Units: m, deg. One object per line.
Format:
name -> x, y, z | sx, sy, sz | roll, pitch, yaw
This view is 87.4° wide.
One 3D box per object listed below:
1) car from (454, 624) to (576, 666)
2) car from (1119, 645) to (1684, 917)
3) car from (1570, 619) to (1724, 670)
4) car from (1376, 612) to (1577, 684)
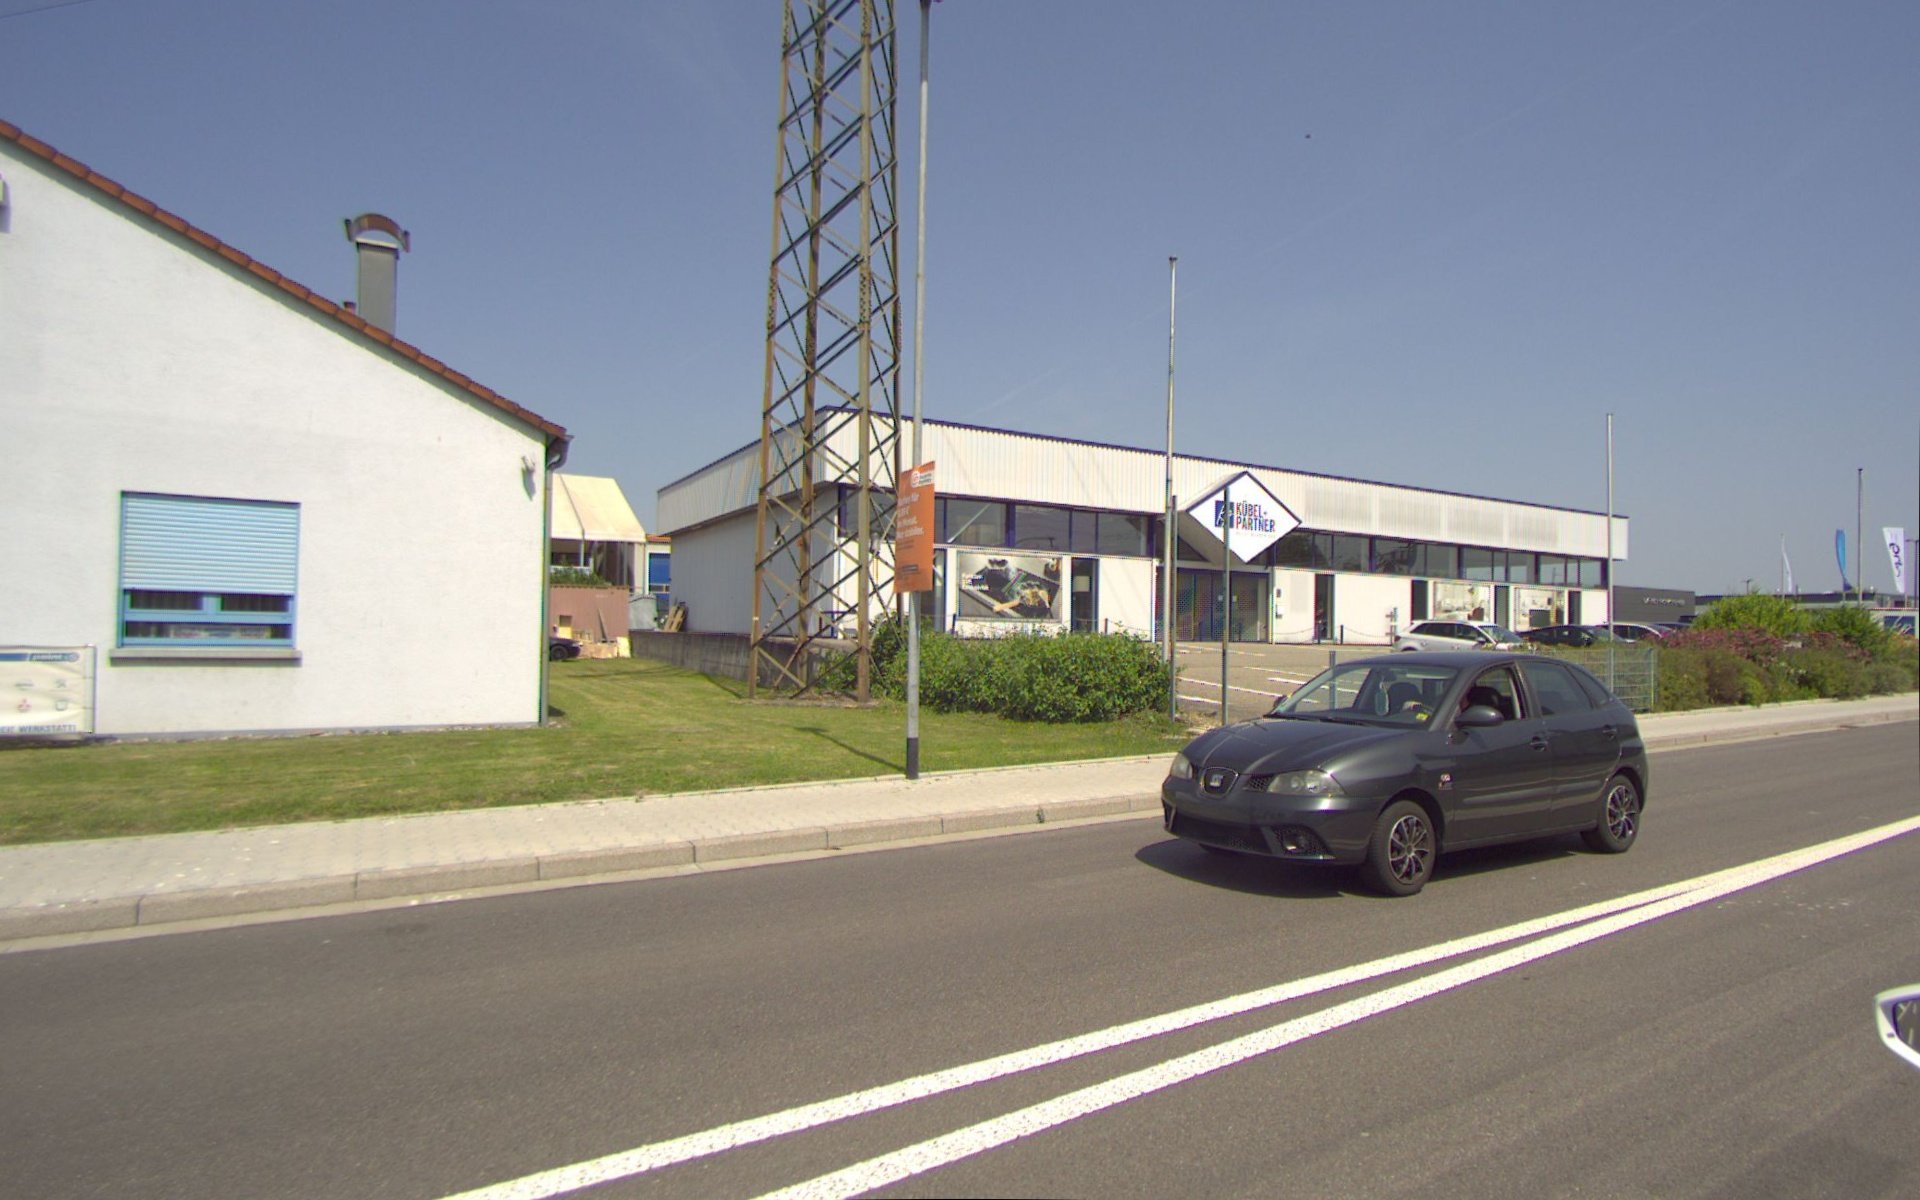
car -> -16.238, 1.644, 36.691 | 3.953, 1.441, 1.663 | 1, -3, -30
car -> 3.201, 1.057, 7.127 | 3.953, 1.441, 1.663 | 1, -3, -30
car -> 20.417, 1.290, 29.988 | 1.487, 1.271, 3.491 | 1, 1, -31
car -> 12.861, 1.135, 25.271 | 1.744, 1.475, 4.202 | 1, 1, -31
